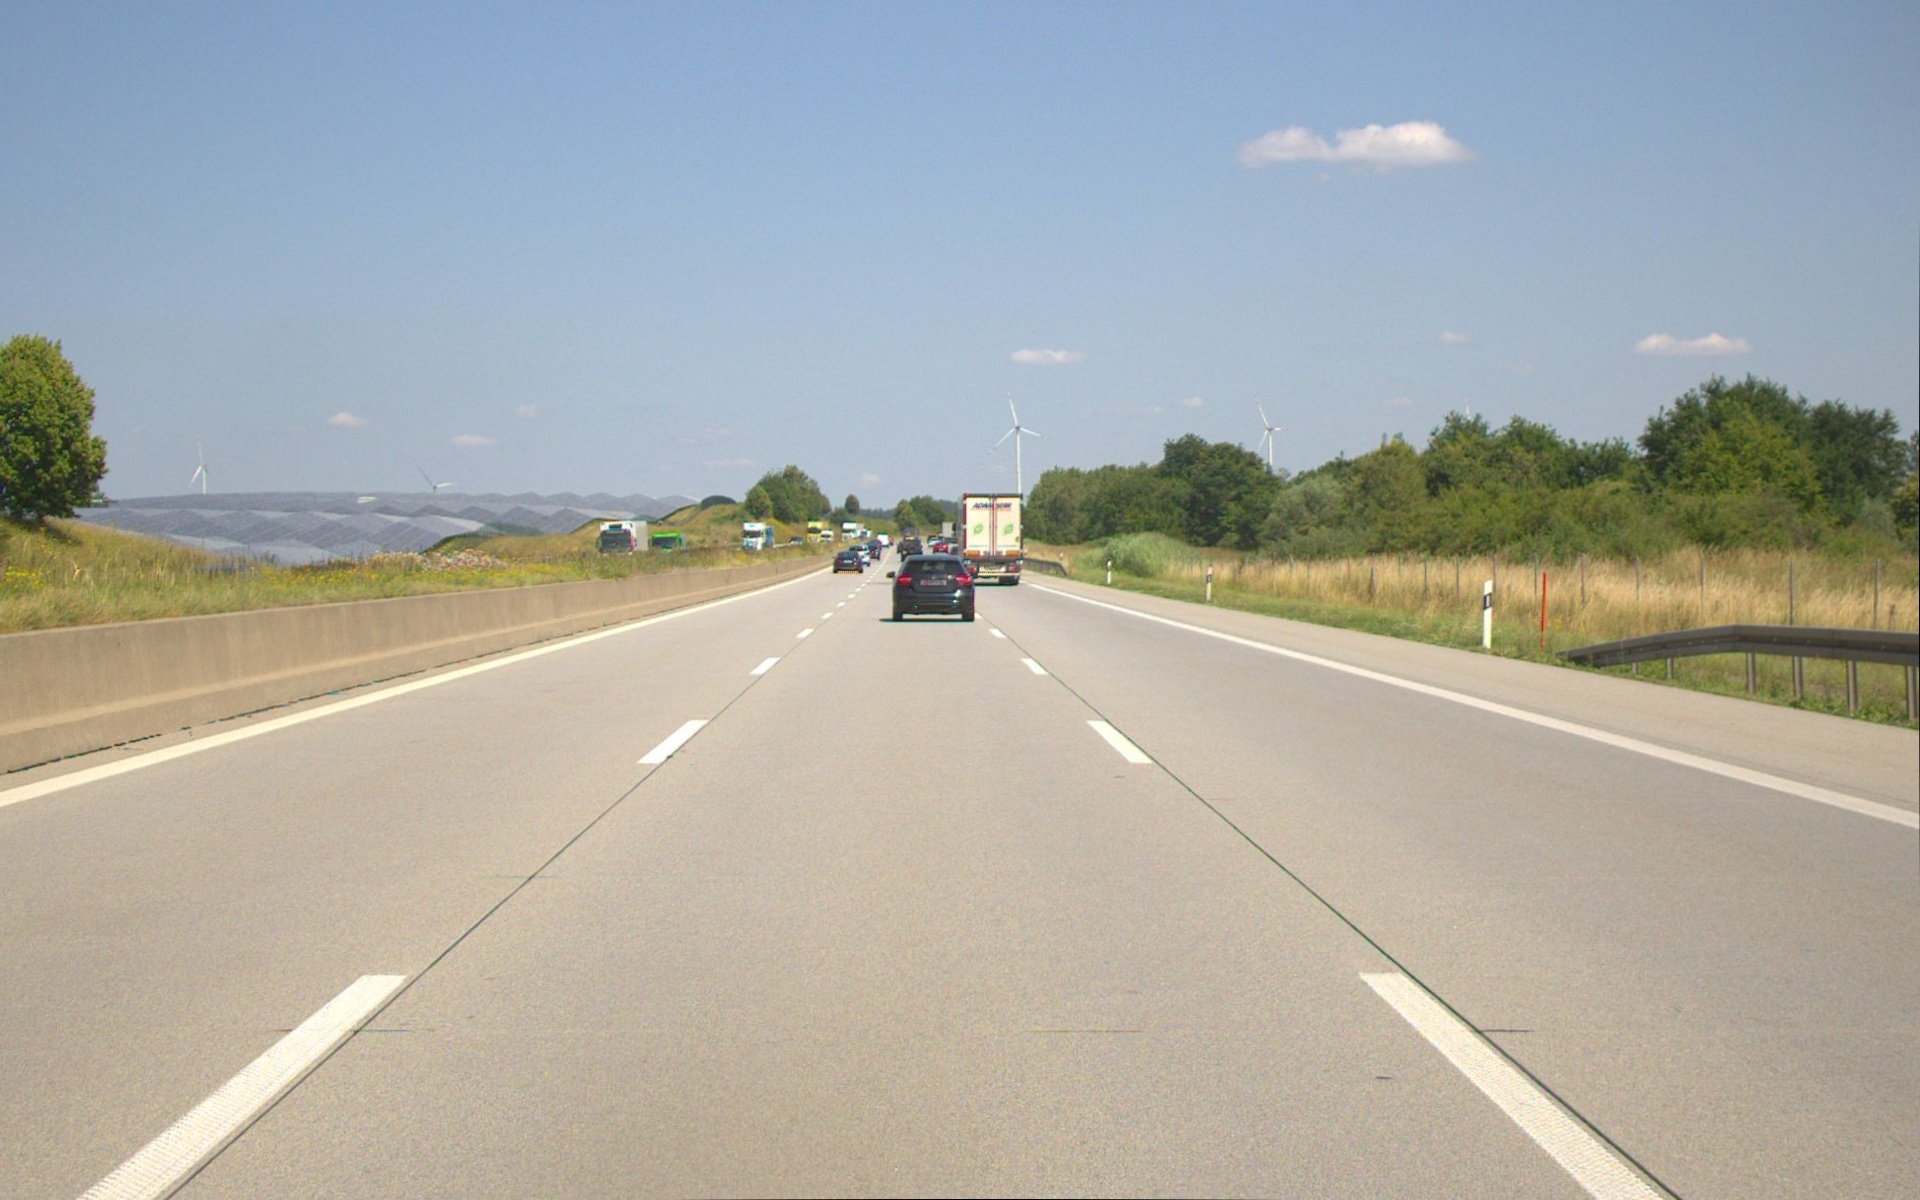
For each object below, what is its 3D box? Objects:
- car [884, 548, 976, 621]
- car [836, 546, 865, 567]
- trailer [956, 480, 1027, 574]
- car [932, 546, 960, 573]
[{"bbox_3d":[-0.688,-0.357,74.888,1.910,1.487,4.192,1,1,-1],"label":"car"},{"bbox_3d":[-6.812,-2.700,213.452,1.655,1.192,3.960,3,1,-1],"label":"car"},{"bbox_3d":[1.368,-3.252,155.413,2.852,4.029,12.714,1,1,-1],"label":"trailer"},{"bbox_3d":[-1.035,-2.964,252.475,1.827,1.900,4.000,1,1,3],"label":"car"}]
